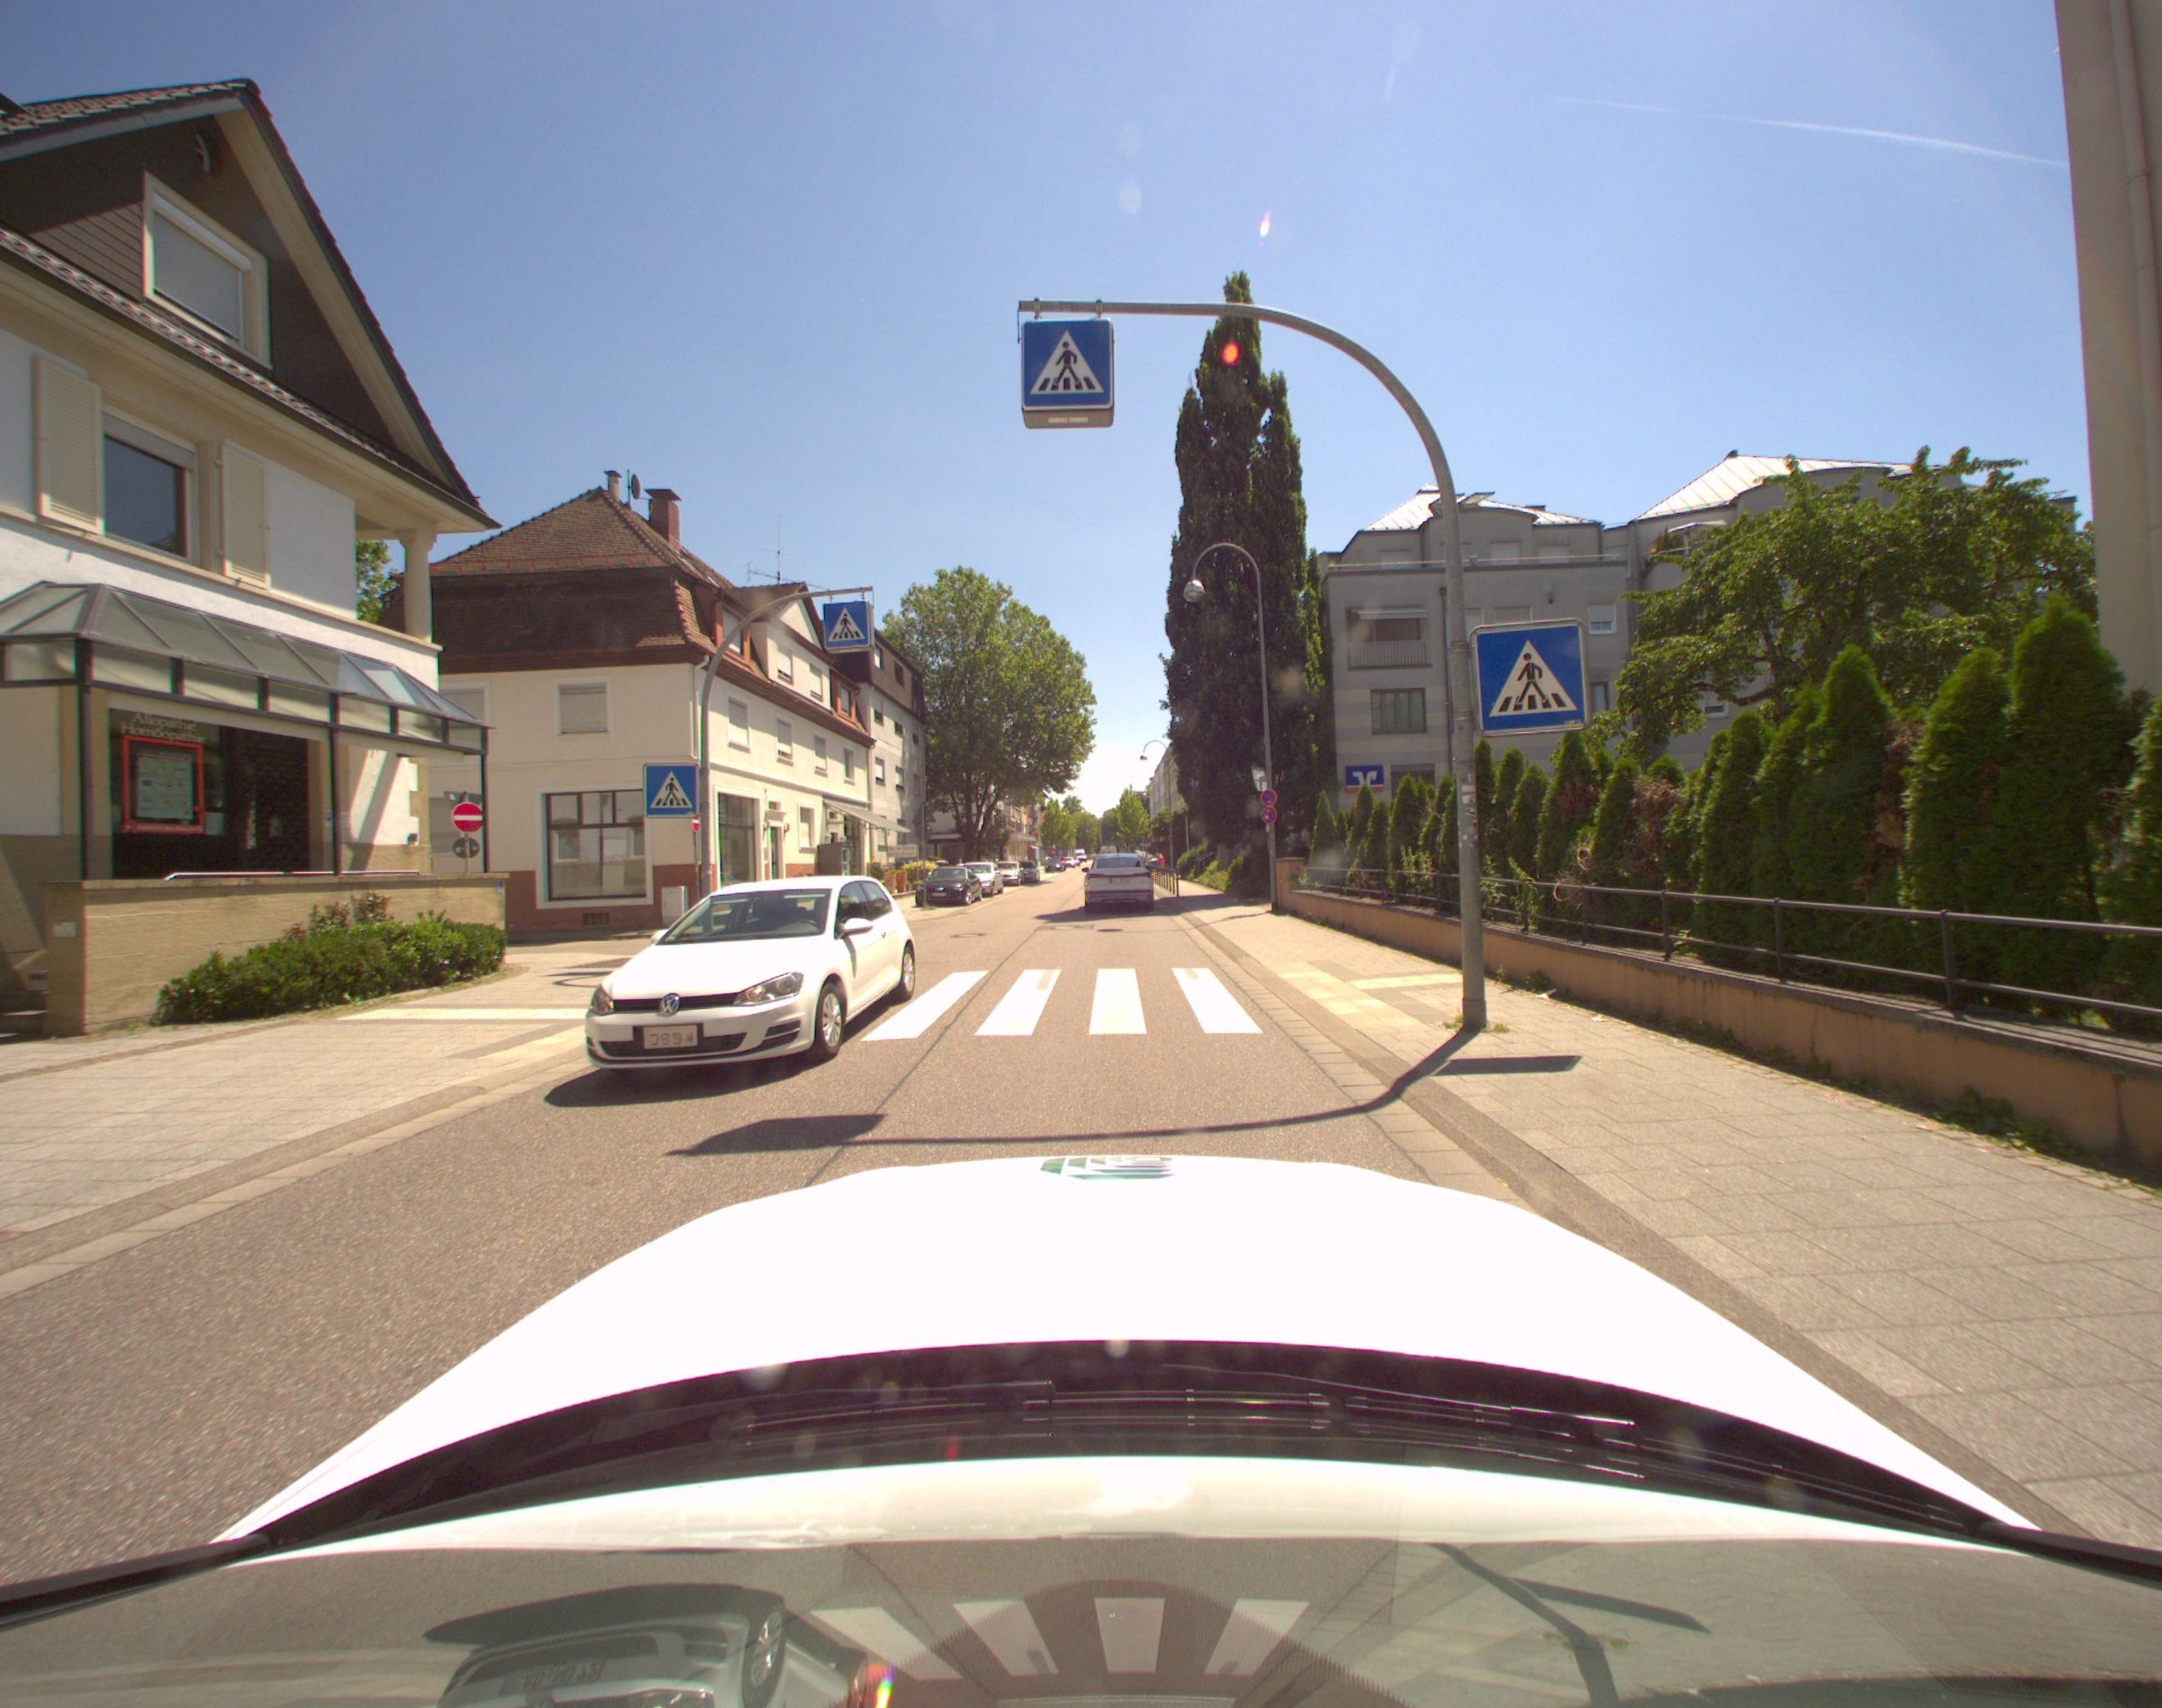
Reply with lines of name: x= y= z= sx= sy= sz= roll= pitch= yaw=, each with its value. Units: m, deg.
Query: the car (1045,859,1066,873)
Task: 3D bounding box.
car: x=-2.753 y=1.277 z=88.963 sx=1.889 sy=1.417 sz=5.049 roll=0 pitch=0 yaw=2

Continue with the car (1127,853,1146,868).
car: x=6.903 y=0.790 z=102.062 sx=1.890 sy=1.674 sz=4.689 roll=-4 pitch=0 yaw=0

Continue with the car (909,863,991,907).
car: x=-4.736 y=1.084 z=30.206 sx=1.934 sy=1.373 sz=5.101 roll=-1 pitch=0 yaw=3

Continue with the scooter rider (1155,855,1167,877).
scooter rider: x=5.756 y=0.856 z=58.714 sx=0.713 sy=1.548 sz=0.770 roll=-3 pitch=0 yaw=0

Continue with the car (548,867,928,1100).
car: x=-2.761 y=0.932 z=7.623 sx=1.802 sy=1.482 sz=3.869 roll=-4 pitch=-1 yaw=0

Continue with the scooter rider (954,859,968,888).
scooter rider: x=-6.581 y=1.070 z=44.682 sx=0.586 sy=1.575 sz=0.878 roll=0 pitch=0 yaw=3

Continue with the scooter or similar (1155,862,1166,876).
scooter or similar: x=5.794 y=1.100 z=59.407 sx=0.661 sy=0.963 sz=0.754 roll=-2 pitch=0 yaw=2

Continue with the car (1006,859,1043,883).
car: x=-3.665 y=1.097 z=53.886 sx=1.974 sy=1.452 sz=5.151 roll=-1 pitch=0 yaw=1

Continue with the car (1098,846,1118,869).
car: x=3.047 y=0.424 z=90.671 sx=2.148 sy=2.442 sz=5.286 roll=0 pitch=-1 yaw=2

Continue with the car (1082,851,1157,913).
car: x=1.050 y=0.747 z=23.543 sx=1.987 sy=1.633 sz=4.000 roll=-1 pitch=0 yaw=1

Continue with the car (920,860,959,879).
car: x=-11.470 y=1.260 z=65.735 sx=1.902 sy=1.486 sz=3.959 roll=-2 pitch=0 yaw=-28

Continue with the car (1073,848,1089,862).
car: x=-0.077 y=0.268 z=162.887 sx=2.035 sy=2.630 sz=7.087 roll=-4 pitch=0 yaw=-8

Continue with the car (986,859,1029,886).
car: x=-4.272 y=1.053 z=48.002 sx=1.974 sy=1.452 sz=4.869 roll=-1 pitch=0 yaw=1

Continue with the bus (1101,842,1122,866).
bus: x=4.298 y=0.005 z=114.211 sx=2.648 sy=3.221 sz=7.310 roll=0 pitch=-1 yaw=5

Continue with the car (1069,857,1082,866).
car: x=-0.924 y=1.170 z=129.602 sx=1.745 sy=1.453 sz=4.405 roll=0 pitch=0 yaw=4

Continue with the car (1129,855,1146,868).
car: x=6.636 y=0.864 z=95.922 sx=1.888 sy=1.438 sz=4.549 roll=-2 pitch=0 yaw=4

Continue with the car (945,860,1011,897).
car: x=-4.483 y=1.045 z=36.274 sx=1.973 sy=1.452 sz=5.361 roll=-1 pitch=0 yaw=3

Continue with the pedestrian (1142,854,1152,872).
pedestrian: x=6.220 y=0.838 z=76.698 sx=0.697 sy=1.627 sz=0.784 roll=-5 pitch=-1 yaw=0

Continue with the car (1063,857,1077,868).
car: x=-1.631 y=1.200 z=118.745 sx=1.745 sy=1.618 sz=4.404 roll=0 pitch=0 yaw=3

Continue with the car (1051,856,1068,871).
car: x=-2.481 y=1.075 z=95.438 sx=1.746 sy=1.702 sz=4.102 roll=0 pitch=0 yaw=1
